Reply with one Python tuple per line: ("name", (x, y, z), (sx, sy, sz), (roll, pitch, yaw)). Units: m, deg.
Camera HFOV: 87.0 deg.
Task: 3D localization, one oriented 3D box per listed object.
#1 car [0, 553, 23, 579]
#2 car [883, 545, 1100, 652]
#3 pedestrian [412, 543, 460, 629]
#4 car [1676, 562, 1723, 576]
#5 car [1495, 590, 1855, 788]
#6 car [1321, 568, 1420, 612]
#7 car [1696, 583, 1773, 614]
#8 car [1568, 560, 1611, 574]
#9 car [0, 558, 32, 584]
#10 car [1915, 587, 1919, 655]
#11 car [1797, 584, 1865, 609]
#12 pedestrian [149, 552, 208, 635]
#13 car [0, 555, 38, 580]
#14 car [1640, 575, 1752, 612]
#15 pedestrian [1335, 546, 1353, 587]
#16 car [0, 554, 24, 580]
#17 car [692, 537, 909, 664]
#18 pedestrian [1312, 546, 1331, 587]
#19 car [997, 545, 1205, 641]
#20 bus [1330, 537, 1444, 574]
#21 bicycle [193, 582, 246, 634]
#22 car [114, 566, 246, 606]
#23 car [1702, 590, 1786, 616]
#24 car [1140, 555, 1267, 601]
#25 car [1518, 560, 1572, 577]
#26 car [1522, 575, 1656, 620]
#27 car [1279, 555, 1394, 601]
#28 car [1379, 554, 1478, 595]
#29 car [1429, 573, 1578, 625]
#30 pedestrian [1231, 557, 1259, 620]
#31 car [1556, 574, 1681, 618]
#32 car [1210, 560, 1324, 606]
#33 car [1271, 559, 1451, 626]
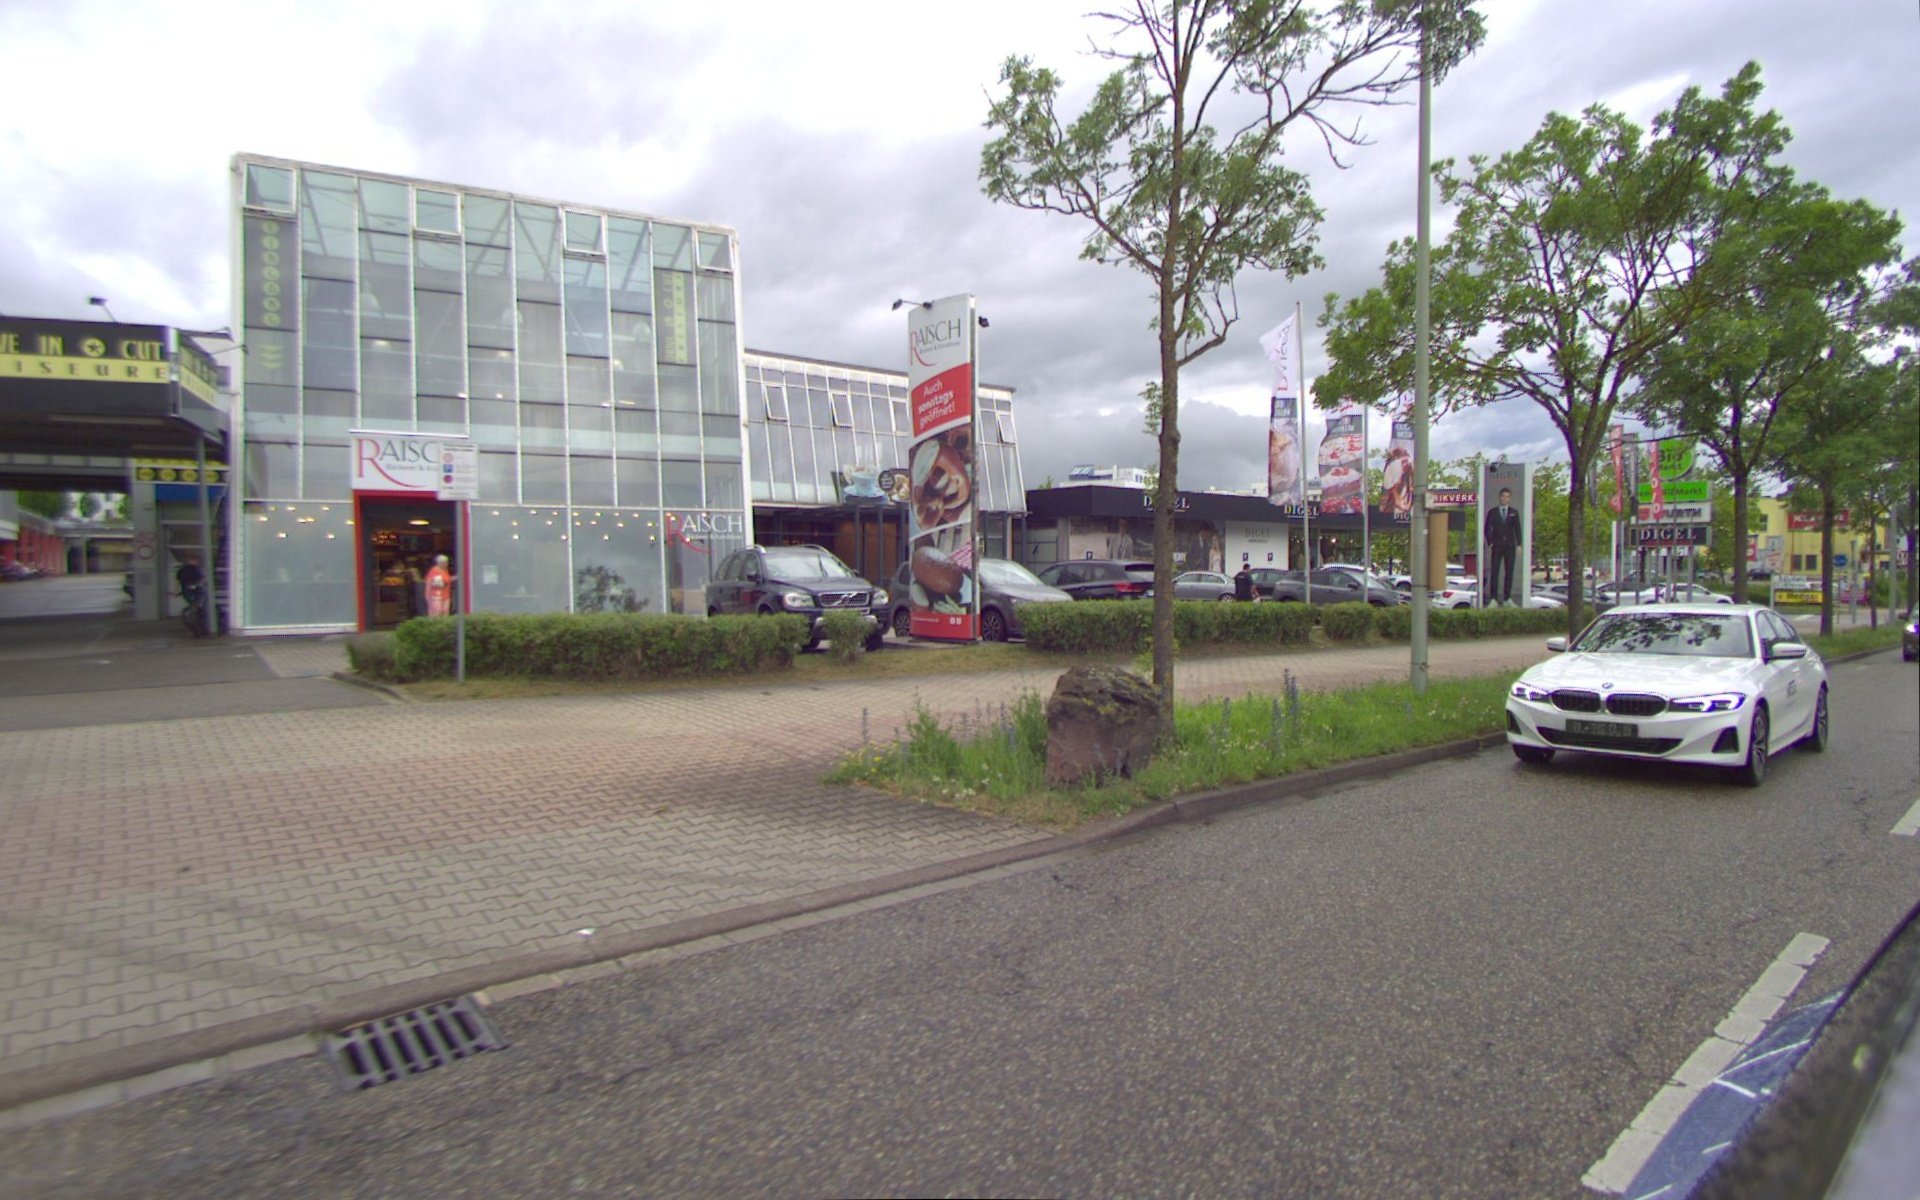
("car", (-59.274, -2.001, 61.020), (3.933, 1.528, 1.798), (-6, 5, -41))
("car", (0.457, -0.112, 18.824), (1.794, 1.620, 4.184), (0, 4, -36))
("pedestrian", (-11.144, -0.307, 21.530), (0.735, 1.781, 0.687), (-1, 1, -14))
("car", (84.961, -3.615, 116.320), (1.768, 1.529, 3.996), (0, 2, -40))
("car", (6.959, 0.654, 9.659), (4.462, 1.459, 1.806), (0, 0, -41))
("car", (15.504, -0.373, 38.152), (4.051, 1.463, 1.765), (1, 4, -41))
("car", (42.937, -0.103, 56.188), (1.715, 1.599, 3.864), (2, 1, 10))
("car", (78.938, -4.170, 126.950), (1.791, 1.601, 4.220), (0, 2, -40))
("car", (-61.825, -1.789, 64.418), (3.933, 1.528, 1.798), (-6, 5, -41))
("car", (24.917, 0.491, 24.792), (4.145, 1.601, 1.797), (0, 0, -41))
("car", (69.496, -0.341, 80.853), (3.981, 1.834, 1.743), (3, 2, 39))
("pedestrian", (-17.483, -0.153, 22.650), (0.795, 1.799, 0.863), (-1, 1, -21))
("car", (-62.967, -2.060, 66.051), (3.933, 1.528, 1.798), (-6, 5, -41))
("car", (37.535, -0.367, 51.704), (4.237, 1.598, 1.742), (3, 3, 4))
("pedestrian", (19.730, -1.715, 52.041), (0.646, 2.039, 0.612), (0, 0, -40))
("car", (-60.767, -1.977, 62.649), (3.933, 1.528, 1.798), (-6, 5, -41))
("car", (-2.726, -0.109, 16.207), (1.887, 1.620, 4.680), (1, 4, -29))
("pedestrian", (18.071, -1.685, 50.630), (0.646, 2.039, 0.612), (0, 0, -40))
("car", (2.770, -0.217, 20.752), (1.766, 1.620, 4.184), (0, 4, -36))
("bus", (47.325, -4.856, 111.638), (17.023, 3.557, 4.102), (0, 2, -40))
("bicycle", (-16.967, 0.164, 23.217), (0.490, 1.121, 1.804), (-1, 2, -21))
("car", (-30.892, -0.566, 40.210), (3.919, 1.529, 1.802), (0, 1, -29))
("car", (48.839, 0.165, 63.086), (1.716, 1.528, 3.989), (-4, 3, -45))
("car", (9.125, -0.874, 38.262), (4.424, 1.412, 1.797), (3, 5, 9))
("car", (69.409, -3.749, 120.113), (1.998, 1.820, 5.092), (0, 2, -40))
("car", (24.437, -0.115, 39.428), (3.951, 1.454, 1.741), (3, 3, 7))
("car", (16.620, -1.013, 44.870), (4.430, 1.701, 1.795), (3, 5, 12))
("car", (23.689, -1.321, 51.282), (4.045, 1.766, 1.799), (3, 5, 6))
("car", (18.777, -0.067, 35.152), (4.122, 1.490, 1.783), (4, 4, 14))
("pedestrian", (8.261, -0.327, 29.331), (0.622, 1.812, 0.849), (-1, 0, 6))
("car", (28.623, -0.214, 44.105), (4.113, 1.598, 1.738), (3, 3, 12))
("car", (12.103, -0.705, 40.078), (3.974, 1.495, 1.798), (3, 5, 8))
("car", (10.929, -0.260, 27.832), (1.829, 1.490, 4.180), (0, 5, -40))
